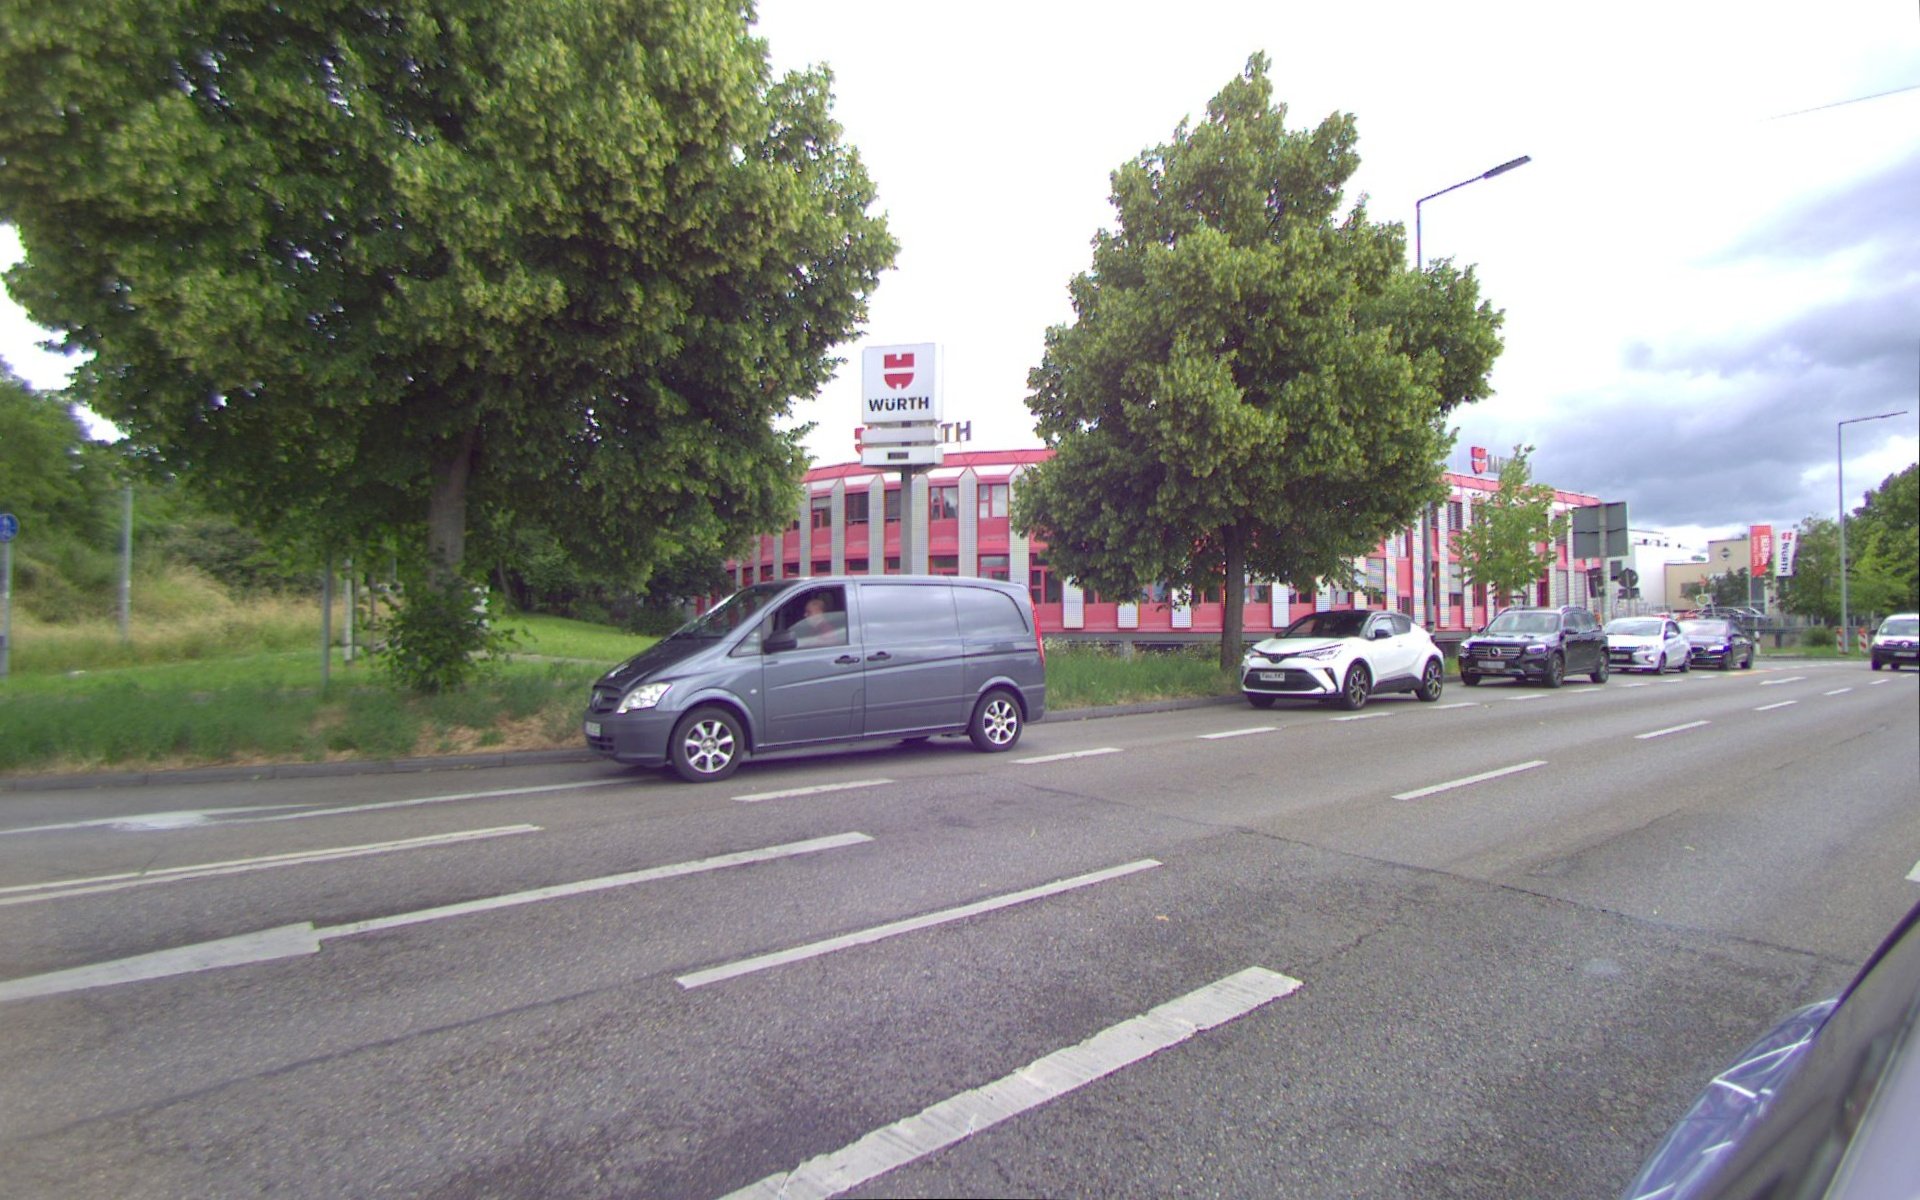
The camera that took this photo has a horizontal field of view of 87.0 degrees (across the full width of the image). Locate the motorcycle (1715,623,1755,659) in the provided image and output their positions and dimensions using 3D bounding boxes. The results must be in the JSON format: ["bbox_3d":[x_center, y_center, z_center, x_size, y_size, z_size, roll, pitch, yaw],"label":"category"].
[{"bbox_3d":[25.162,1.324,32.861,1.911,1.162,0.748,2,-3,-45],"label":"motorcycle"}]

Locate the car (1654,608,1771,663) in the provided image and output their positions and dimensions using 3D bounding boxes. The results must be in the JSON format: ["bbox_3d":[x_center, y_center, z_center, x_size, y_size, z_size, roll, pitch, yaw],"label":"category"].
[{"bbox_3d":[22.213,1.056,29.807,4.446,1.464,1.784,3,-1,-40],"label":"car"}]

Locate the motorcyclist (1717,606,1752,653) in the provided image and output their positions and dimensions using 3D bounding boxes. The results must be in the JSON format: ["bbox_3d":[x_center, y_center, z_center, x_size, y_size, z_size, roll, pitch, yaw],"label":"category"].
[{"bbox_3d":[25.220,0.971,32.936,0.918,1.510,0.748,2,-3,-44],"label":"motorcyclist"}]

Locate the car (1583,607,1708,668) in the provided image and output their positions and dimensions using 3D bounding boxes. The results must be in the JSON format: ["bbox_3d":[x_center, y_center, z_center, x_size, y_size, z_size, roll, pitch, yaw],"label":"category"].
[{"bbox_3d":[18.185,0.993,26.808,3.766,1.461,1.784,3,-1,-40],"label":"car"}]

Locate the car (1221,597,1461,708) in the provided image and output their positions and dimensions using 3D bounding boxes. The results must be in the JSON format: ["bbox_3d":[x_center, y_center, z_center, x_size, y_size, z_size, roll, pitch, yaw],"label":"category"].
[{"bbox_3d":[6.195,0.787,16.229,4.230,1.555,1.783,0,-3,-41],"label":"car"}]

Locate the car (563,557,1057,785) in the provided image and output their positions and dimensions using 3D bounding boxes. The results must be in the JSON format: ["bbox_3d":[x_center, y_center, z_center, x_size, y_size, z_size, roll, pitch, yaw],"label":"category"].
[{"bbox_3d":[-1.415,0.620,10.382,4.632,1.858,1.921,0,-3,-35],"label":"car"}]

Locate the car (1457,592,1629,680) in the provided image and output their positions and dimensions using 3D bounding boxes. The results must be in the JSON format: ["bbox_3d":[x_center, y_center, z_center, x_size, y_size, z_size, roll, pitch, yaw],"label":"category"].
[{"bbox_3d":[12.476,0.756,21.560,4.346,1.671,1.784,3,-1,-40],"label":"car"}]

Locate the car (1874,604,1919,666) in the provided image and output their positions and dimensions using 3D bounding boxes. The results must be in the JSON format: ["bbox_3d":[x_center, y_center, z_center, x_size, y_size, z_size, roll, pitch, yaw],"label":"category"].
[{"bbox_3d":[30.490,1.075,31.770,4.752,1.825,1.999,1,0,-39],"label":"car"}]

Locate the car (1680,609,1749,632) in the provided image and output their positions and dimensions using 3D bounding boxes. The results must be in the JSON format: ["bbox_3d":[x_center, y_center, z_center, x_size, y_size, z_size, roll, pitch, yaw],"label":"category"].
[{"bbox_3d":[61.811,1.684,82.948,1.752,1.776,4.247,0,0,-39],"label":"car"}]
